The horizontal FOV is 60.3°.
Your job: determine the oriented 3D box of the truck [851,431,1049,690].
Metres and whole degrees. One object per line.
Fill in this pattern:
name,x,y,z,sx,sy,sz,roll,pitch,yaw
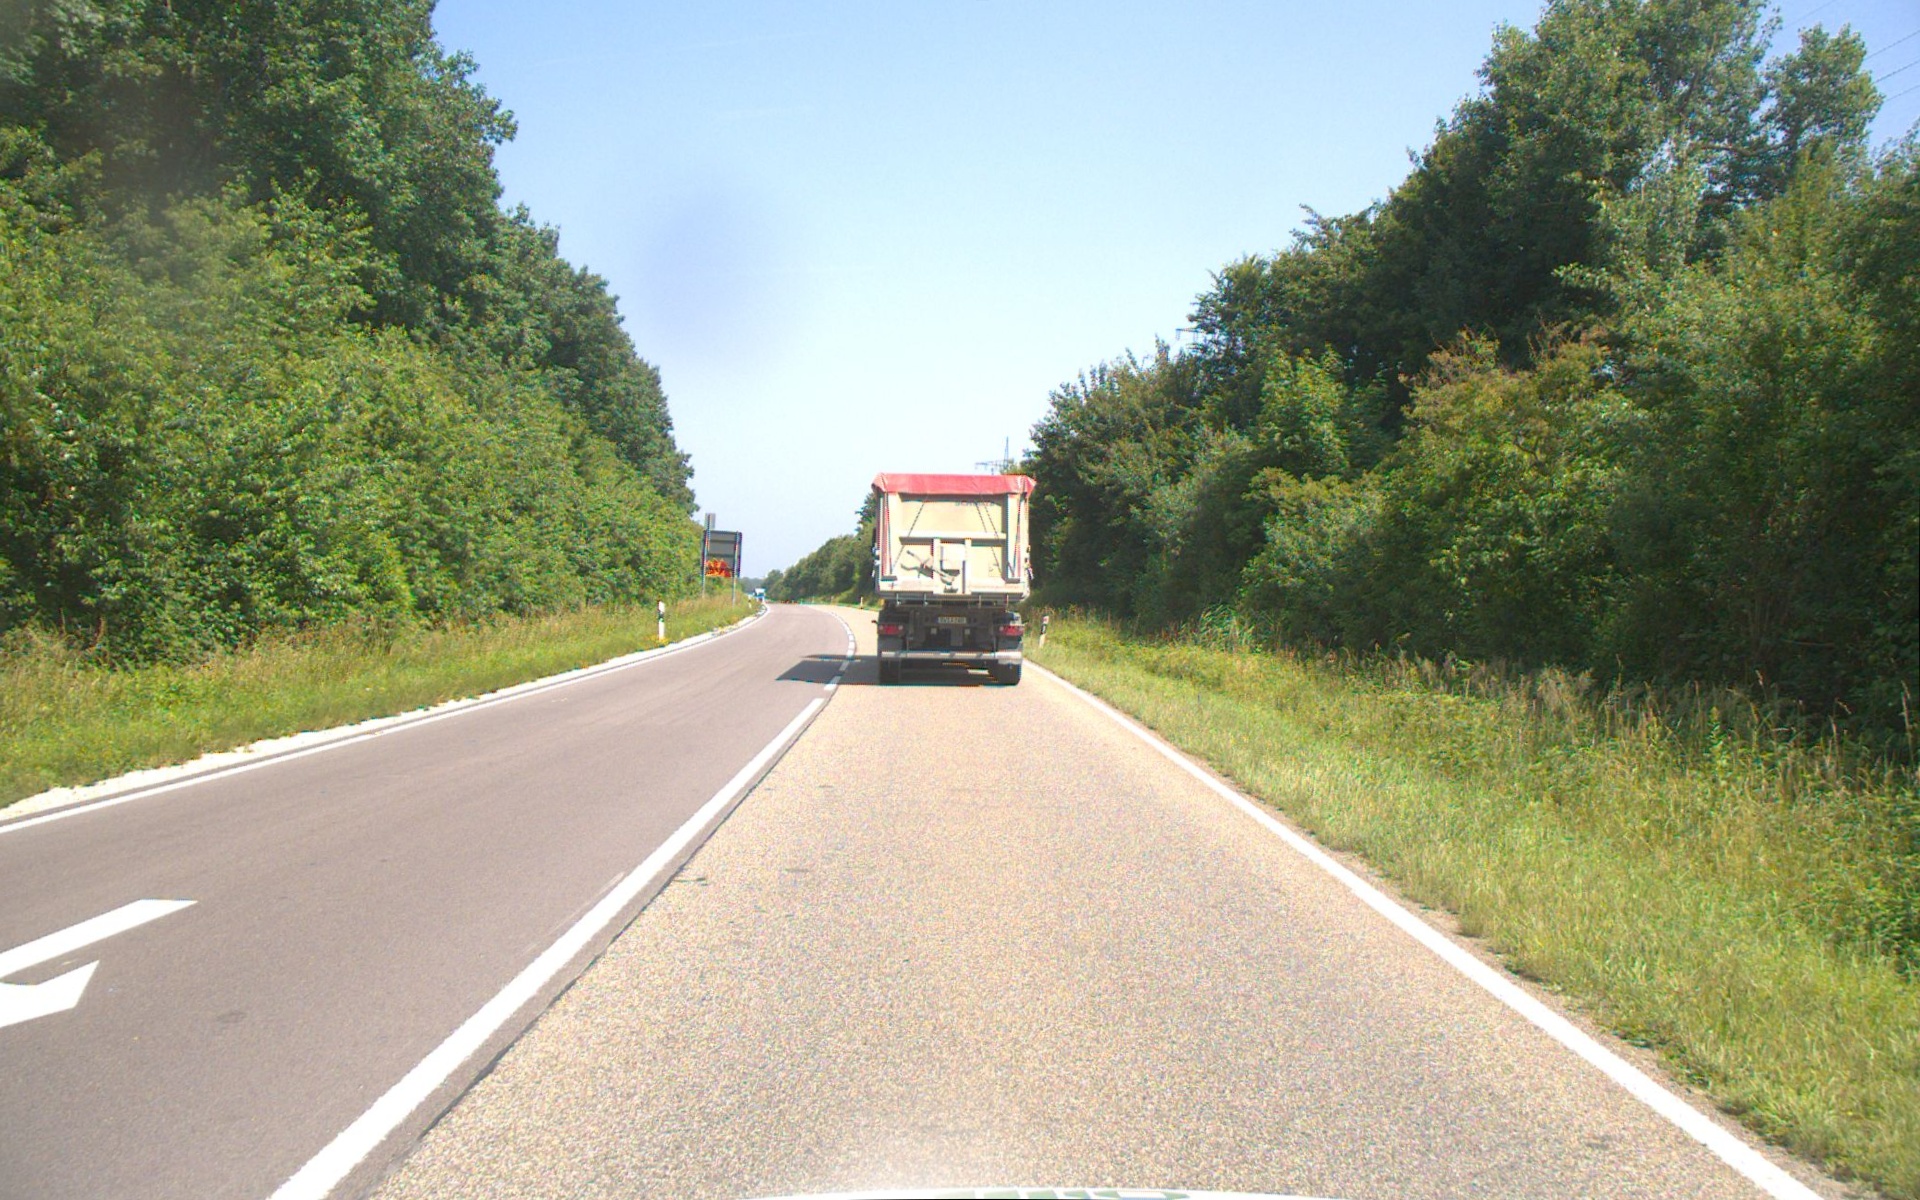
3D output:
truck,-0.540,-0.658,32.112,2.837,4.031,11.920,1,0,-5
